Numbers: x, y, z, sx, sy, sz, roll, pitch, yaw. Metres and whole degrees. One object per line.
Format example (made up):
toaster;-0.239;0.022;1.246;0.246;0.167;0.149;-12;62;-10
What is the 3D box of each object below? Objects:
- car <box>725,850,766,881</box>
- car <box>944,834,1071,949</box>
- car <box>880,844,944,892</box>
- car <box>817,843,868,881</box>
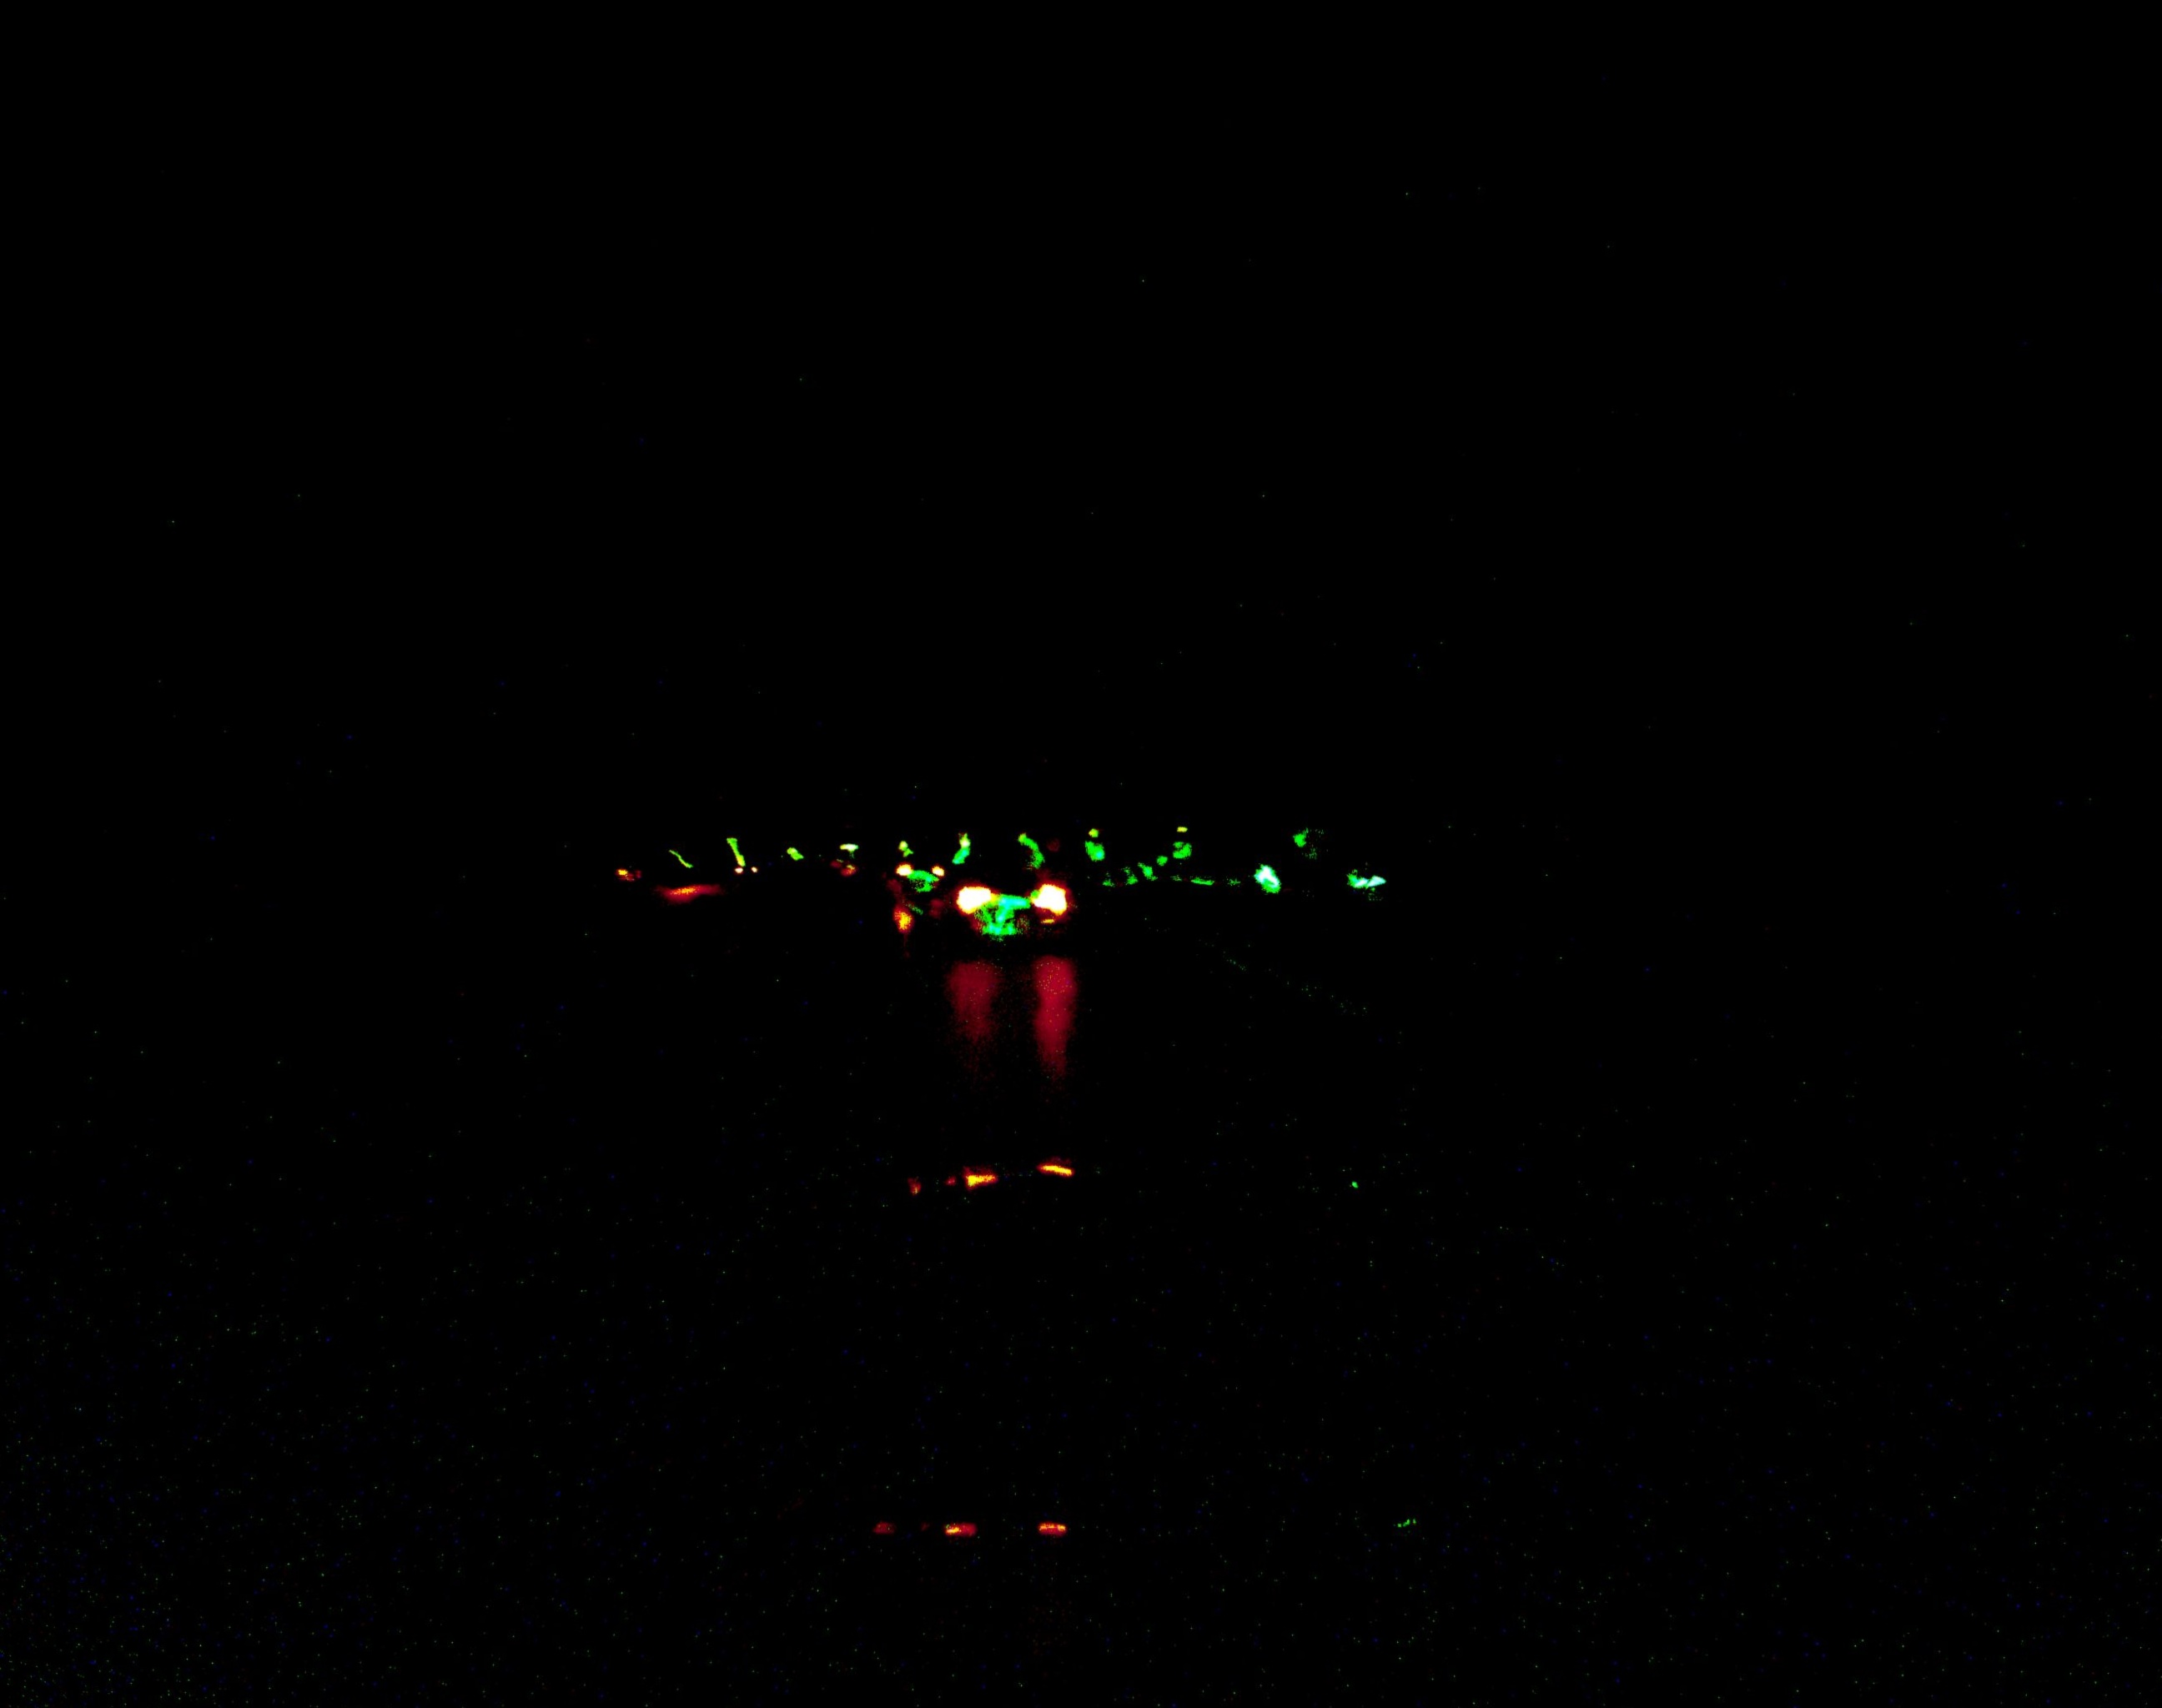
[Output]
car;-23.405;0.778;56.807;1.909;1.998;4.004;-2;1;-33
car;-1.355;0.564;14.249;1.859;1.647;4.058;-2;0;-8
car;-6.734;0.510;32.111;1.902;1.720;4.018;-1;0;-20
car;-13.805;0.464;46.976;1.907;2.040;4.006;-1;0;-30
